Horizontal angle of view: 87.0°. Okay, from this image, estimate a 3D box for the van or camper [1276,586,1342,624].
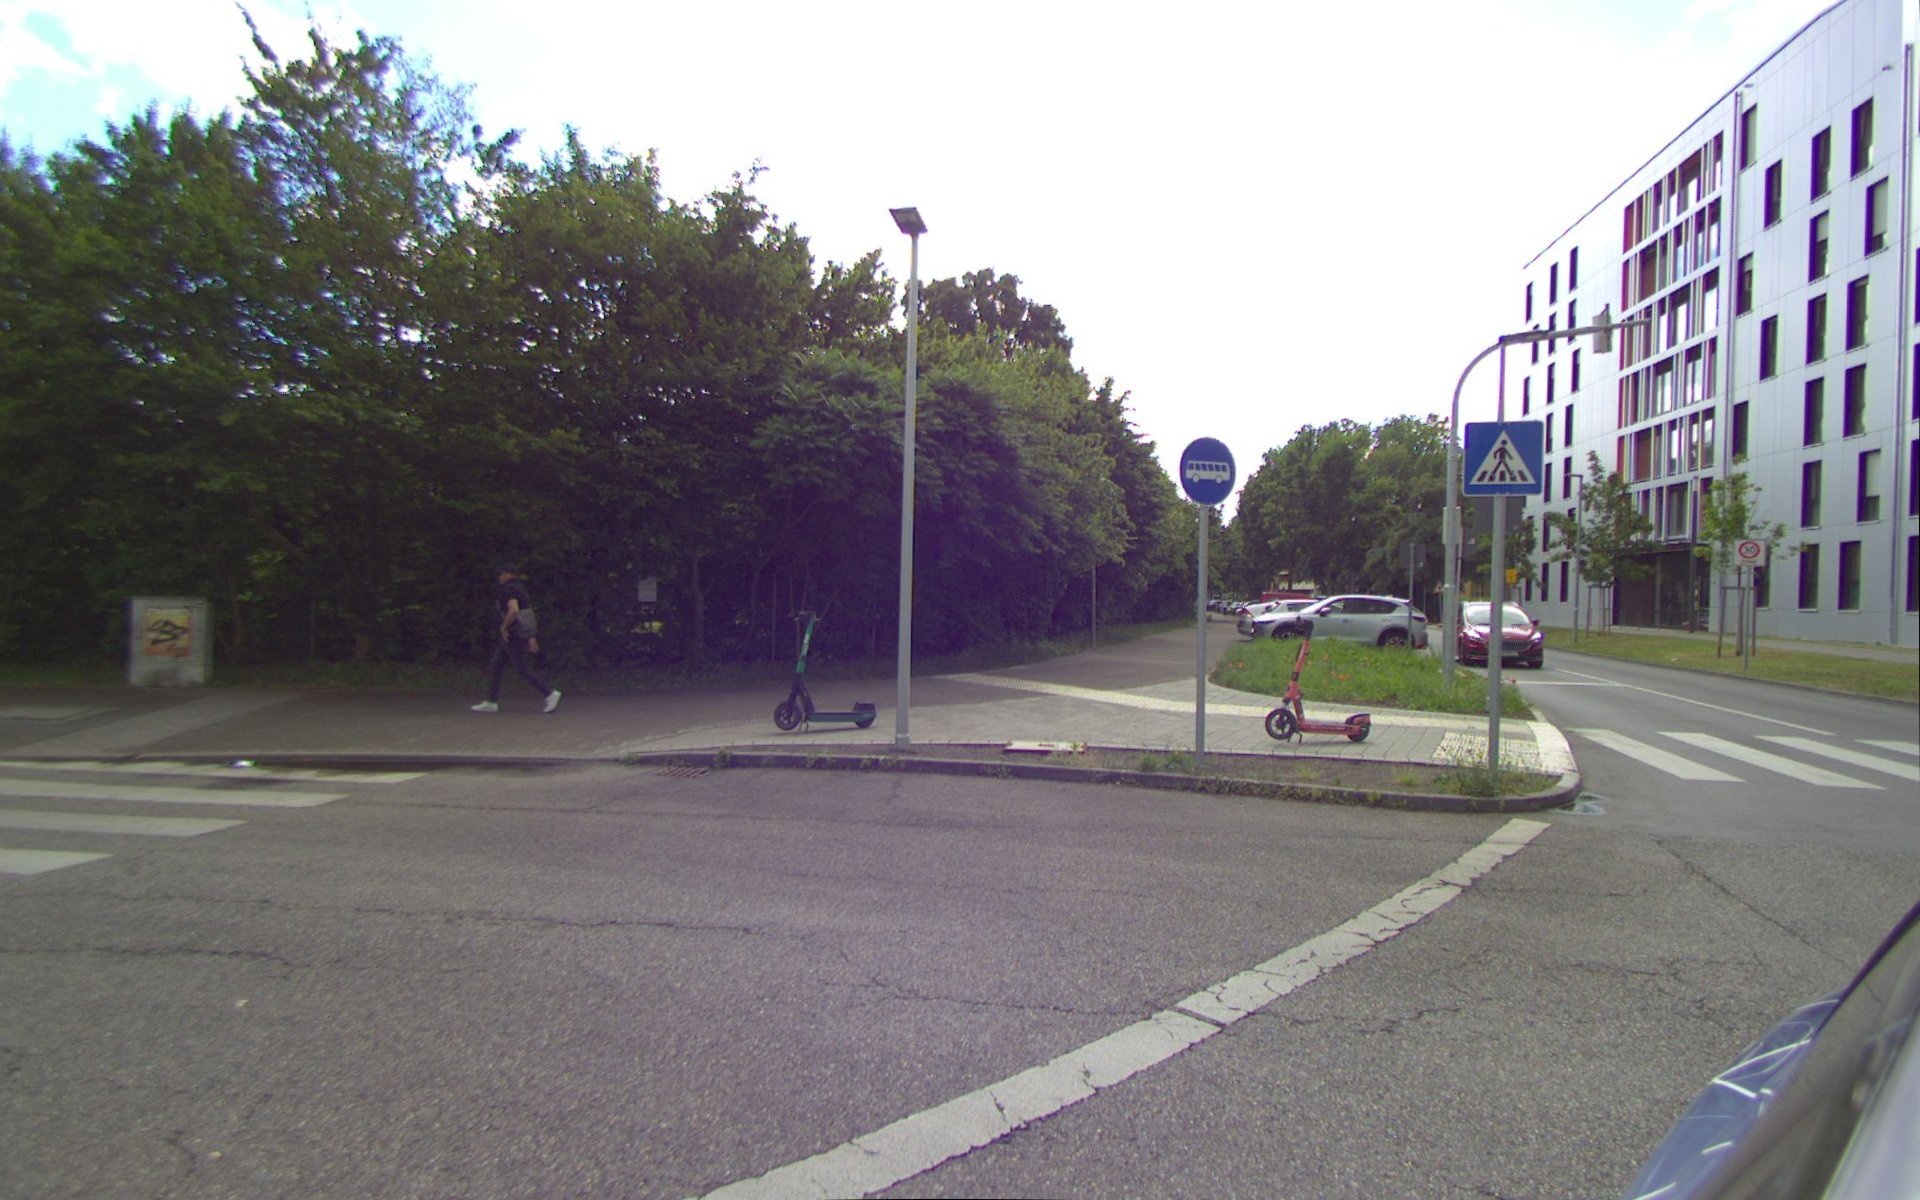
[{"bbox_3d":[22.648,0.331,65.777,3.926,2.349,1.874,-1,-1,17],"label":"van or camper"}]

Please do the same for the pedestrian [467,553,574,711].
[{"bbox_3d":[-5.318,0.371,12.297,0.965,1.845,0.858,1,0,-7],"label":"pedestrian"}]

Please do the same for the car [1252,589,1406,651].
[{"bbox_3d":[10.815,0.558,29.956,4.111,1.606,1.786,2,0,17],"label":"car"}]

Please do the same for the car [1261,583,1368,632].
[{"bbox_3d":[15.407,0.290,44.183,4.236,1.916,1.828,2,0,17],"label":"car"}]

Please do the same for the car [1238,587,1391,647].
[{"bbox_3d":[11.206,0.508,32.319,4.431,1.582,1.901,3,1,17],"label":"car"}]

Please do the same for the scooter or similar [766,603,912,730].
[{"bbox_3d":[-1.324,0.693,11.098,1.465,1.290,0.622,-1,1,-28],"label":"scooter or similar"}]

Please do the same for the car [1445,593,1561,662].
[{"bbox_3d":[14.108,0.652,26.547,1.909,1.652,4.218,0,0,18],"label":"car"}]

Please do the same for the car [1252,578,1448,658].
[{"bbox_3d":[10.351,0.435,27.269,4.597,1.774,2.060,4,1,15],"label":"car"}]

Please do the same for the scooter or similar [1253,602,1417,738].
[{"bbox_3d":[3.846,0.698,10.412,1.493,1.329,0.573,1,0,-13],"label":"scooter or similar"}]

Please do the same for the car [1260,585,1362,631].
[{"bbox_3d":[17.021,0.350,49.301,4.503,1.922,1.874,3,1,17],"label":"car"}]
